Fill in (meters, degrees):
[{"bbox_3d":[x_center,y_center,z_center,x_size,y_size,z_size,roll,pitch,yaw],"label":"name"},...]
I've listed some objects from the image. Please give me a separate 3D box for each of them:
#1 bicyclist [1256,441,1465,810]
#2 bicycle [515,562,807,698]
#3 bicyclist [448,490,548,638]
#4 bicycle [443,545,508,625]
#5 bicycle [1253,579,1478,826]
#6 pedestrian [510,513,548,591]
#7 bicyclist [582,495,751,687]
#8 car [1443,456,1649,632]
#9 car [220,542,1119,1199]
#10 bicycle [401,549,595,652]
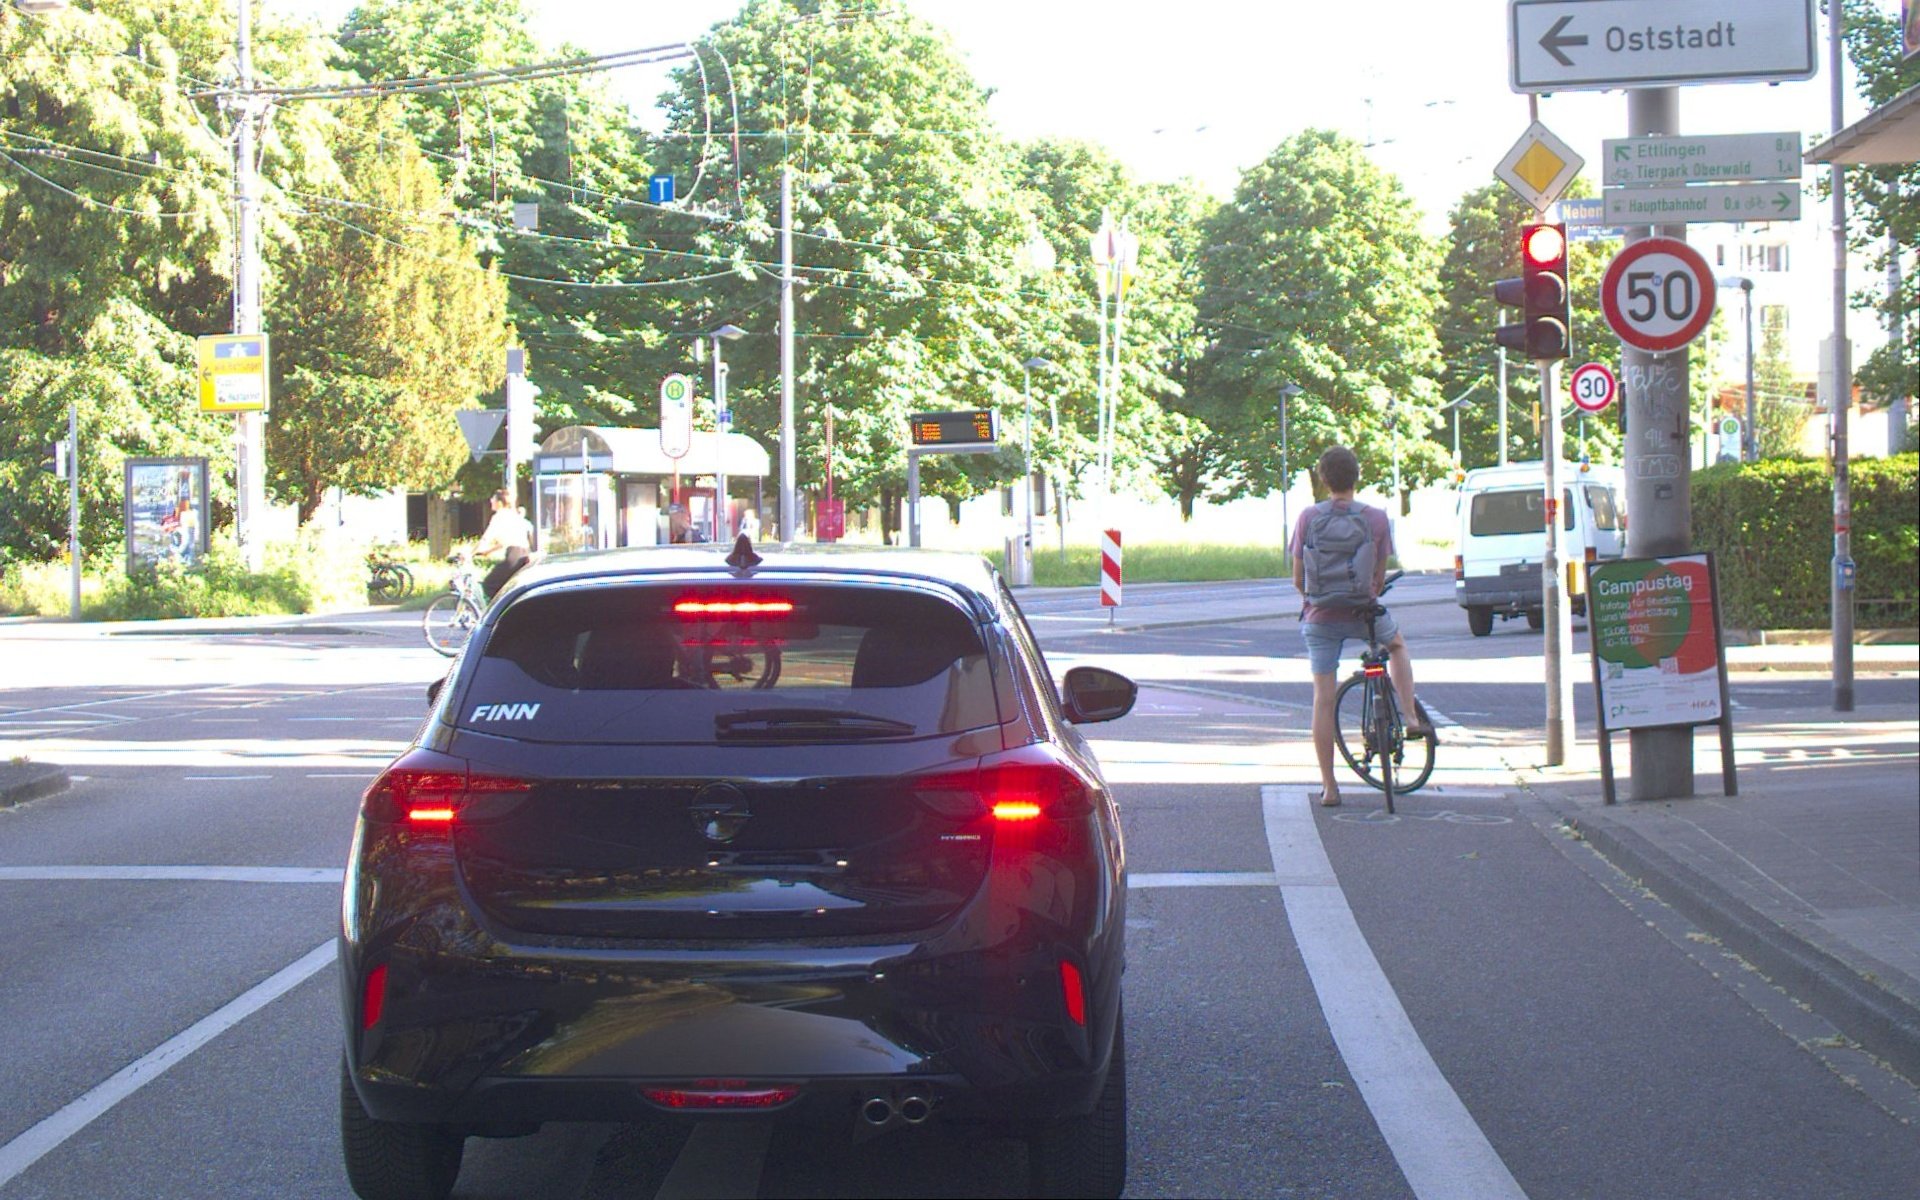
[{"bbox_3d":[2.055,0.119,17.730,0.941,1.845,0.864,-1,1,-1],"label":"bicyclist"},{"bbox_3d":[-2.419,0.227,27.854,2.190,1.029,0.835,-1,1,-23],"label":"bicycle"},{"bbox_3d":[-5.027,-0.398,37.428,0.862,1.589,0.648,0,1,22],"label":"bicyclist"},{"bbox_3d":[-6.543,-0.212,46.483,0.605,1.028,1.982,-1,1,-1],"label":"bicycle"},{"bbox_3d":[2.064,0.490,17.812,0.860,1.149,2.172,-1,1,-1],"label":"bicycle"},{"bbox_3d":[-9.102,-1.003,72.585,0.636,1.624,0.572,1,0,7],"label":"pedestrian"},{"bbox_3d":[-2.380,-0.085,27.833,1.112,1.515,0.922,-1,1,-23],"label":"bicyclist"},{"bbox_3d":[7.982,-0.779,46.463,2.065,2.241,4.883,0,1,18],"label":"car"},{"bbox_3d":[-0.576,0.582,8.726,1.727,1.424,4.187,0,1,0],"label":"car"},{"bbox_3d":[-5.033,-0.001,37.469,2.057,1.090,0.592,0,1,22],"label":"bicycle"}]
